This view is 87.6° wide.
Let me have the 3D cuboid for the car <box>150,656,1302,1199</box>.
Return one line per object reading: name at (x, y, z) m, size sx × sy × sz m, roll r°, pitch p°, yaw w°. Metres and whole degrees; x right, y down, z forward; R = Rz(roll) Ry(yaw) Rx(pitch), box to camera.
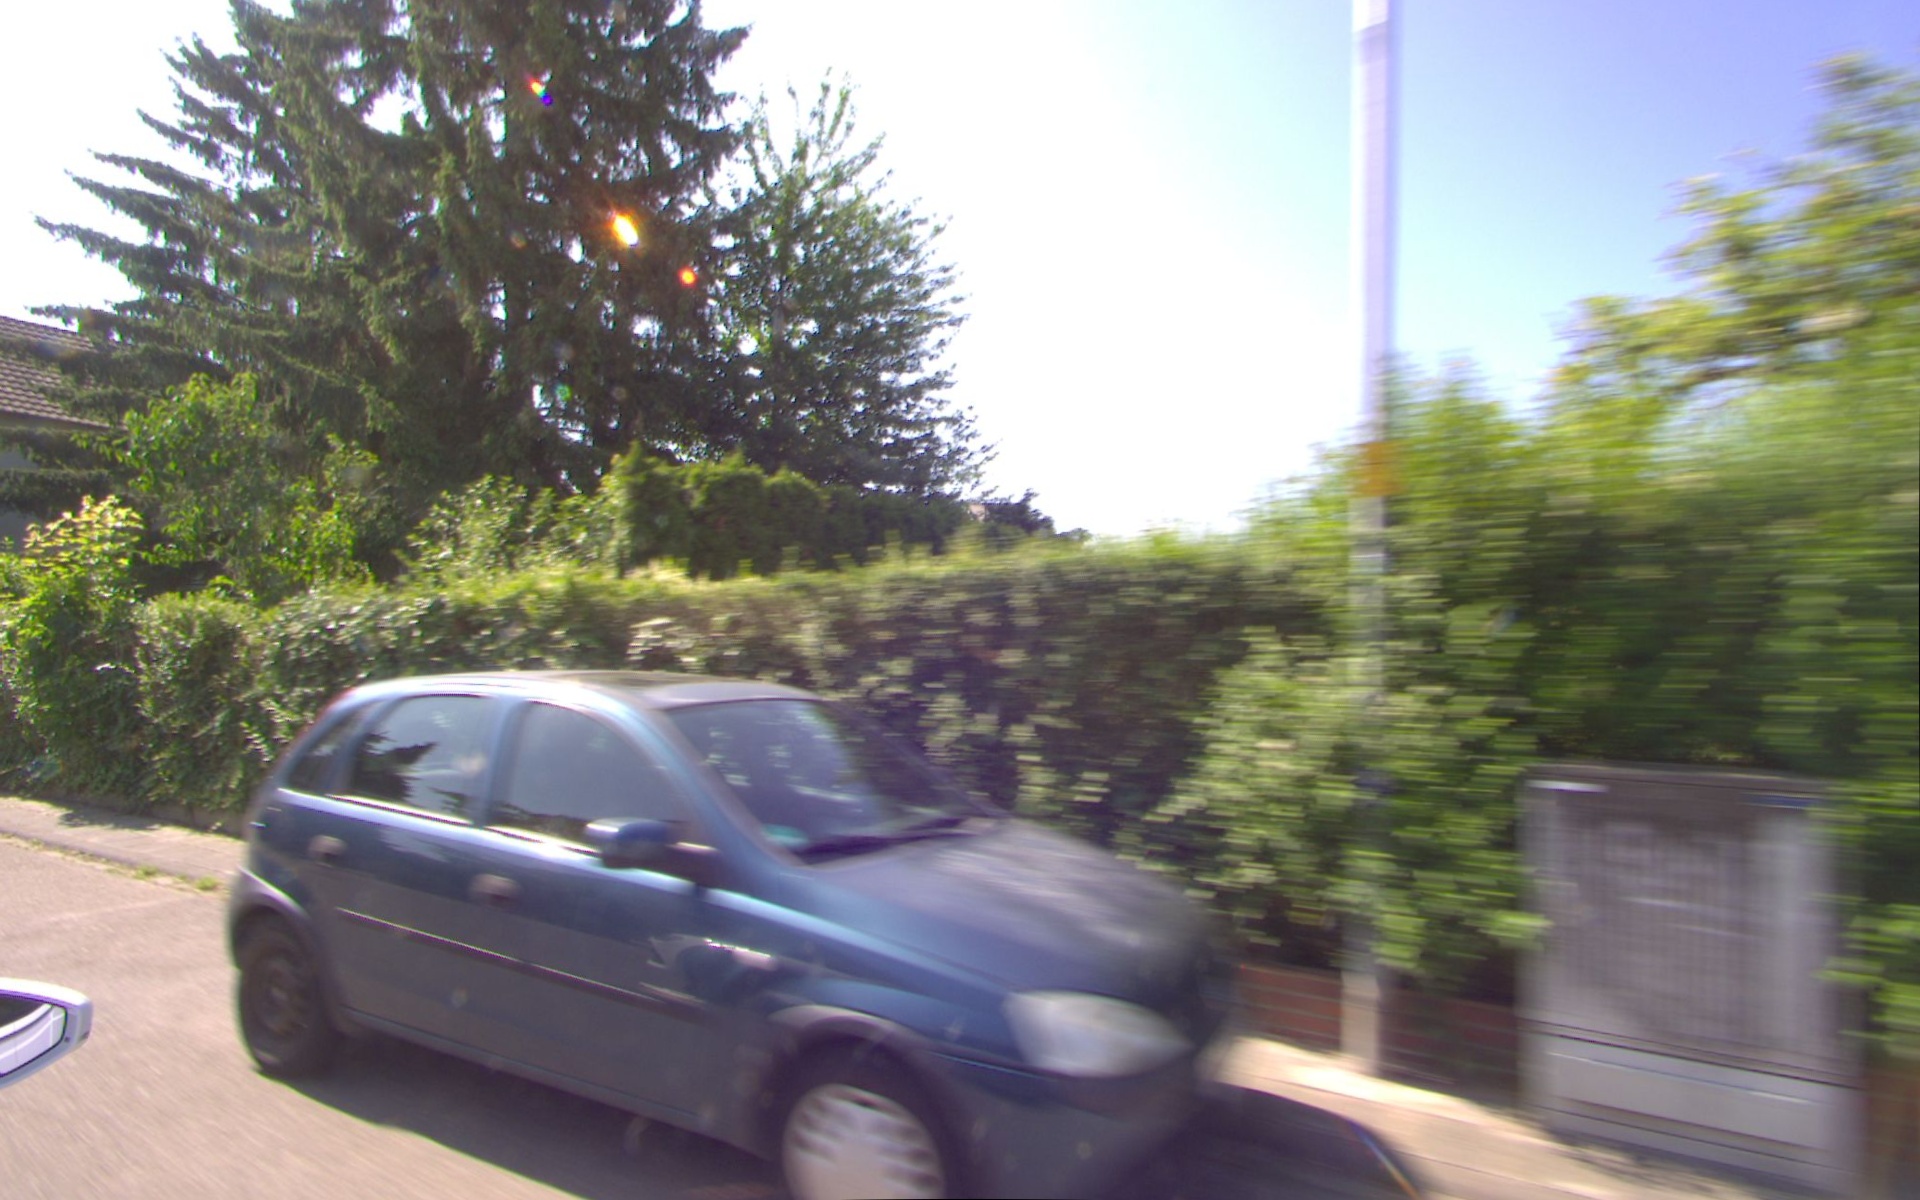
car at (-0.947, 0.950, 3.644) m, size 3.939 × 1.416 × 1.702 m, roll -1°, pitch -4°, yaw 29°
